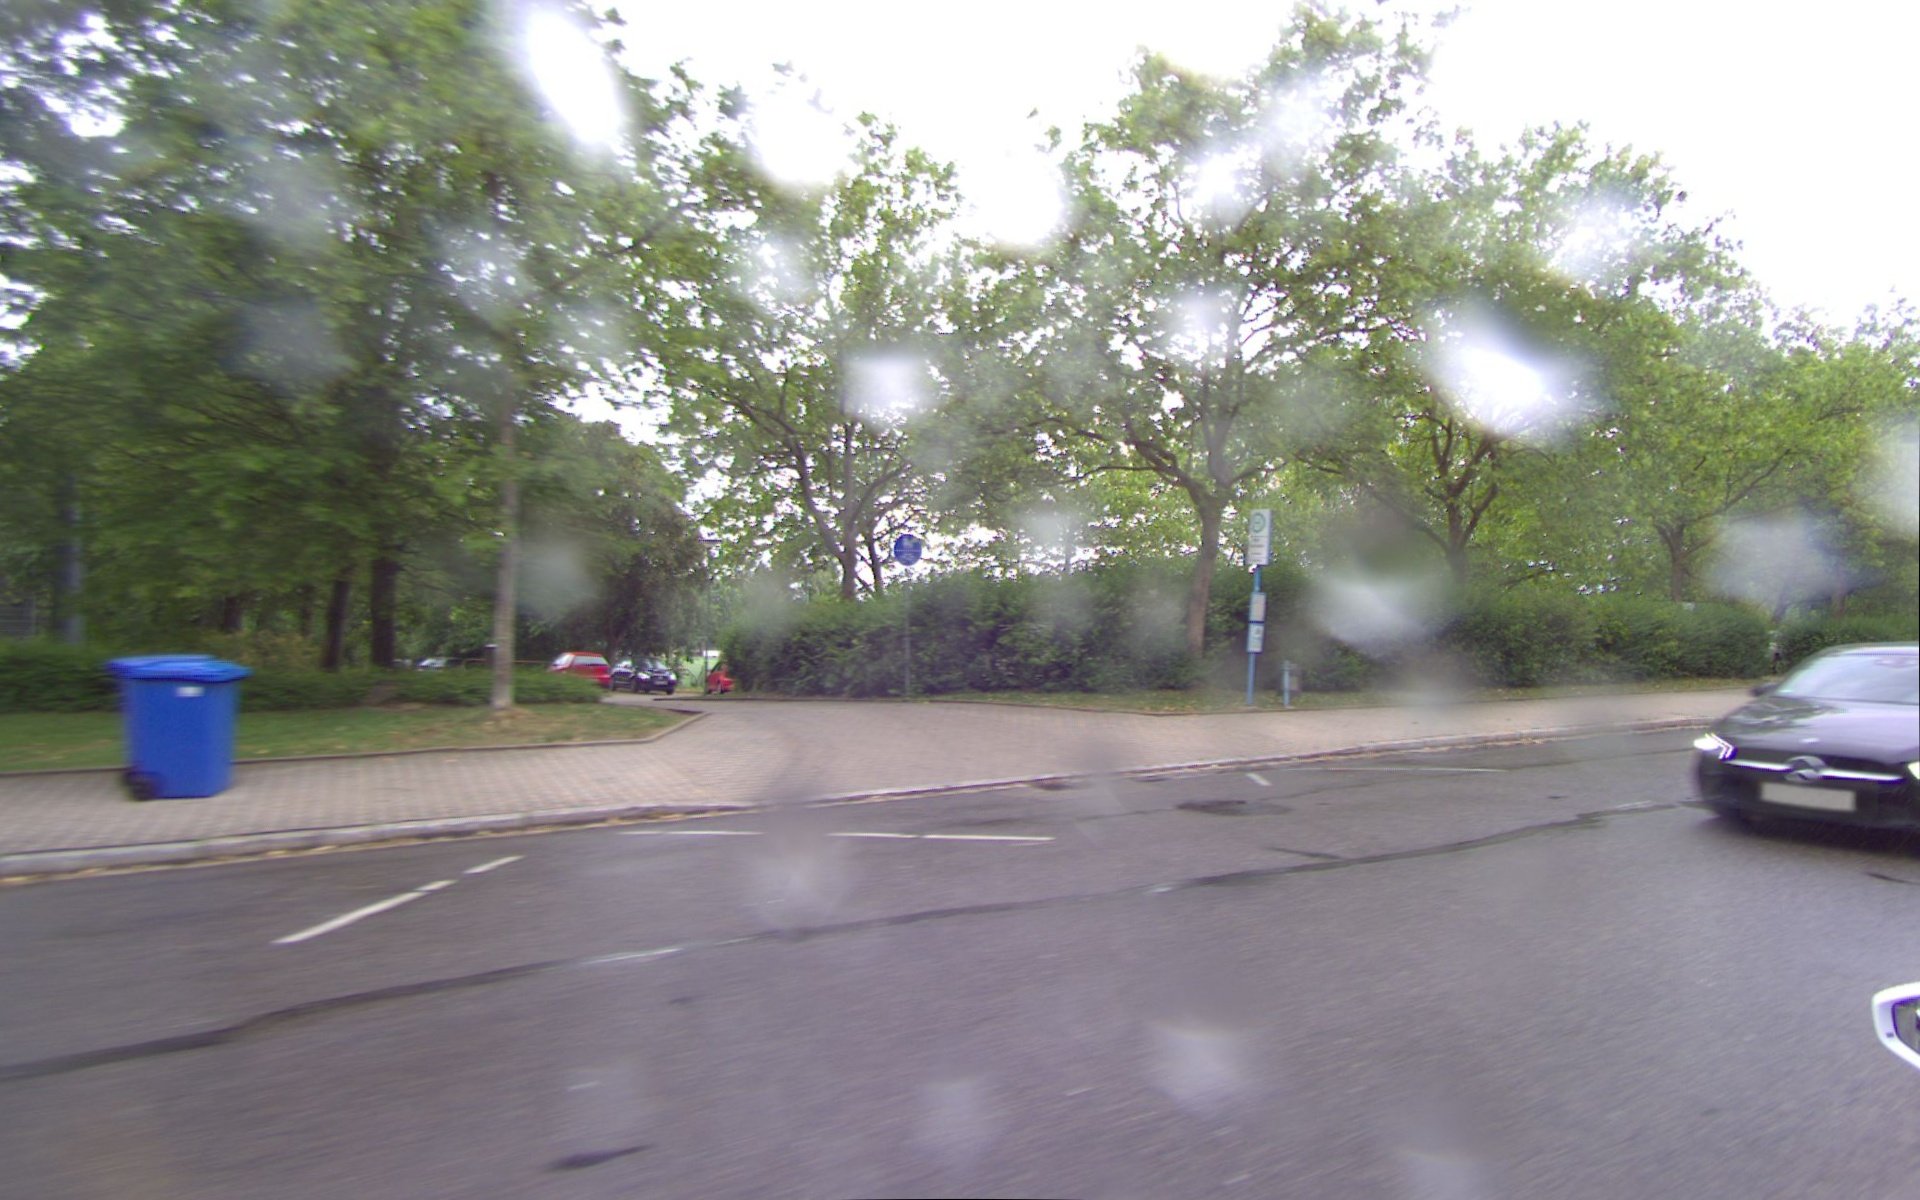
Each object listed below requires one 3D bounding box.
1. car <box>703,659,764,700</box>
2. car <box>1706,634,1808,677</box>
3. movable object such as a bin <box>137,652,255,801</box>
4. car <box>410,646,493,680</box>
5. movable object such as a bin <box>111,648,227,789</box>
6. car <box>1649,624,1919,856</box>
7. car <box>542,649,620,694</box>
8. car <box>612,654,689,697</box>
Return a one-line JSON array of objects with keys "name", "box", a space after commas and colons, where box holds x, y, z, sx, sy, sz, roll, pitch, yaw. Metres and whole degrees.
[{"name": "car", "box": [-9.604, 3.340, 42.413, 1.775, 1.529, 3.980, 5, -5, -22]}, {"name": "car", "box": [29.528, 2.054, 37.211, 3.958, 1.530, 1.784, 2, -4, -33]}, {"name": "movable object such as a bin", "box": [-6.219, 1.005, 8.209, 0.663, 1.113, 0.564, 1, 1, -28]}, {"name": "car", "box": [-26.501, 3.320, 52.506, 1.763, 1.529, 4.005, 2, -5, 9]}, {"name": "movable object such as a bin", "box": [-6.751, 0.991, 8.600, 0.663, 1.113, 0.564, 1, 1, -28]}, {"name": "car", "box": [7.452, 0.982, 8.114, 3.959, 1.484, 1.815, 2, -3, -34]}, {"name": "car", "box": [-14.351, 2.676, 37.923, 1.782, 1.529, 3.963, 6, -6, -33]}, {"name": "car", "box": [-12.293, 2.966, 39.742, 1.782, 1.529, 3.963, 6, -6, -33]}]
